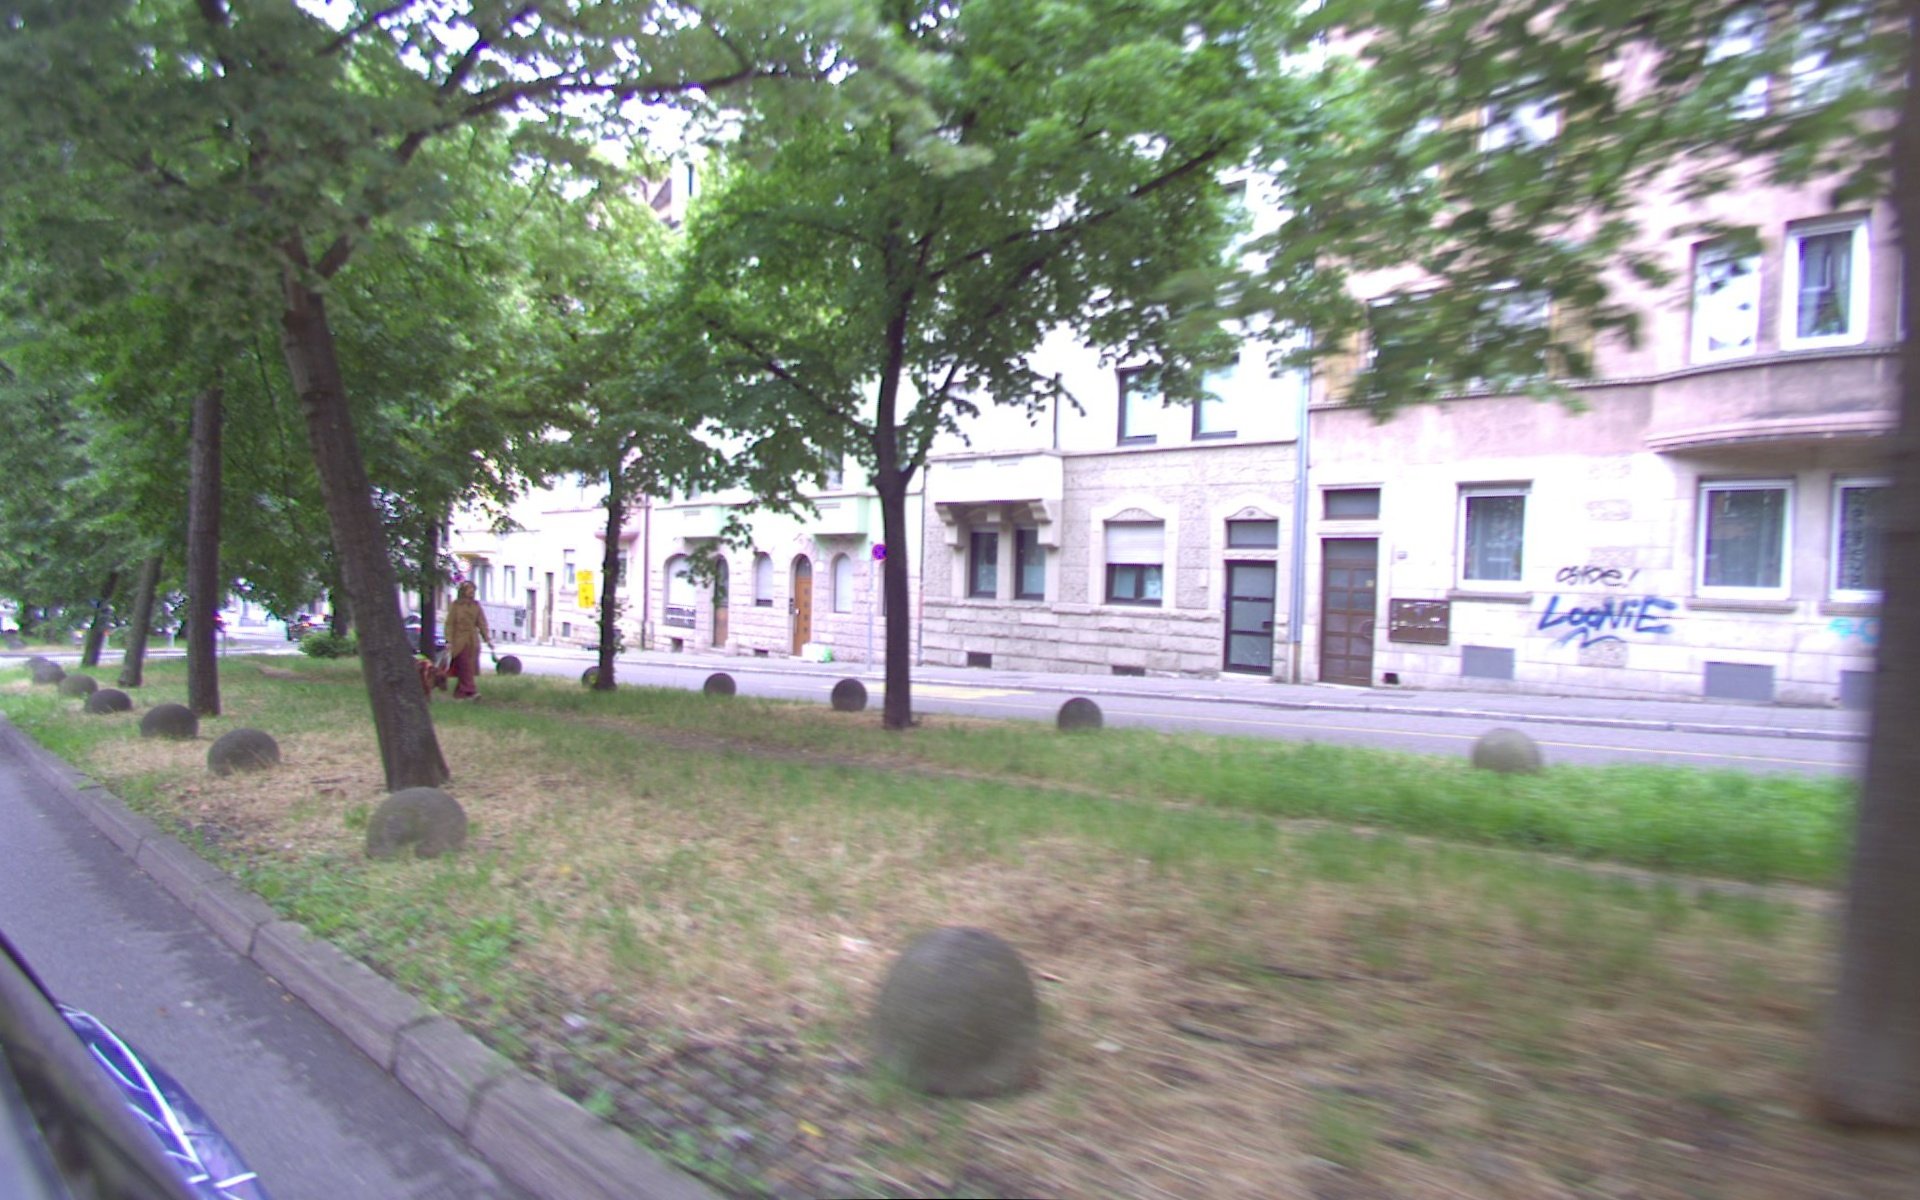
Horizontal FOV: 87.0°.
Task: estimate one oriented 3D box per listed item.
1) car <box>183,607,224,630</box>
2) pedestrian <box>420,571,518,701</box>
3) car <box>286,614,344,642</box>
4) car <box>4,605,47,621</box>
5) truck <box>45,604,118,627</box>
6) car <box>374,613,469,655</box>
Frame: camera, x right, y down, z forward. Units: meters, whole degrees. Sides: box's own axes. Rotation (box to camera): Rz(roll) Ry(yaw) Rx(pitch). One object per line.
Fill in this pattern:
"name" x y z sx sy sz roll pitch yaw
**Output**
"car" -58.489 1.402 78.242 4.681 1.649 1.795 0 -1 44
"pedestrian" -6.836 0.485 14.082 0.824 1.725 1.123 5 -2 -45
"car" -33.884 1.482 53.135 1.688 1.393 4.672 2 -3 -44
"car" -106.190 1.467 115.057 2.174 1.583 4.493 0 2 -23
"truck" -107.066 1.935 123.426 2.743 2.744 6.433 -1 -1 11
"car" -18.880 1.202 35.381 1.738 1.393 4.672 2 -3 -44
